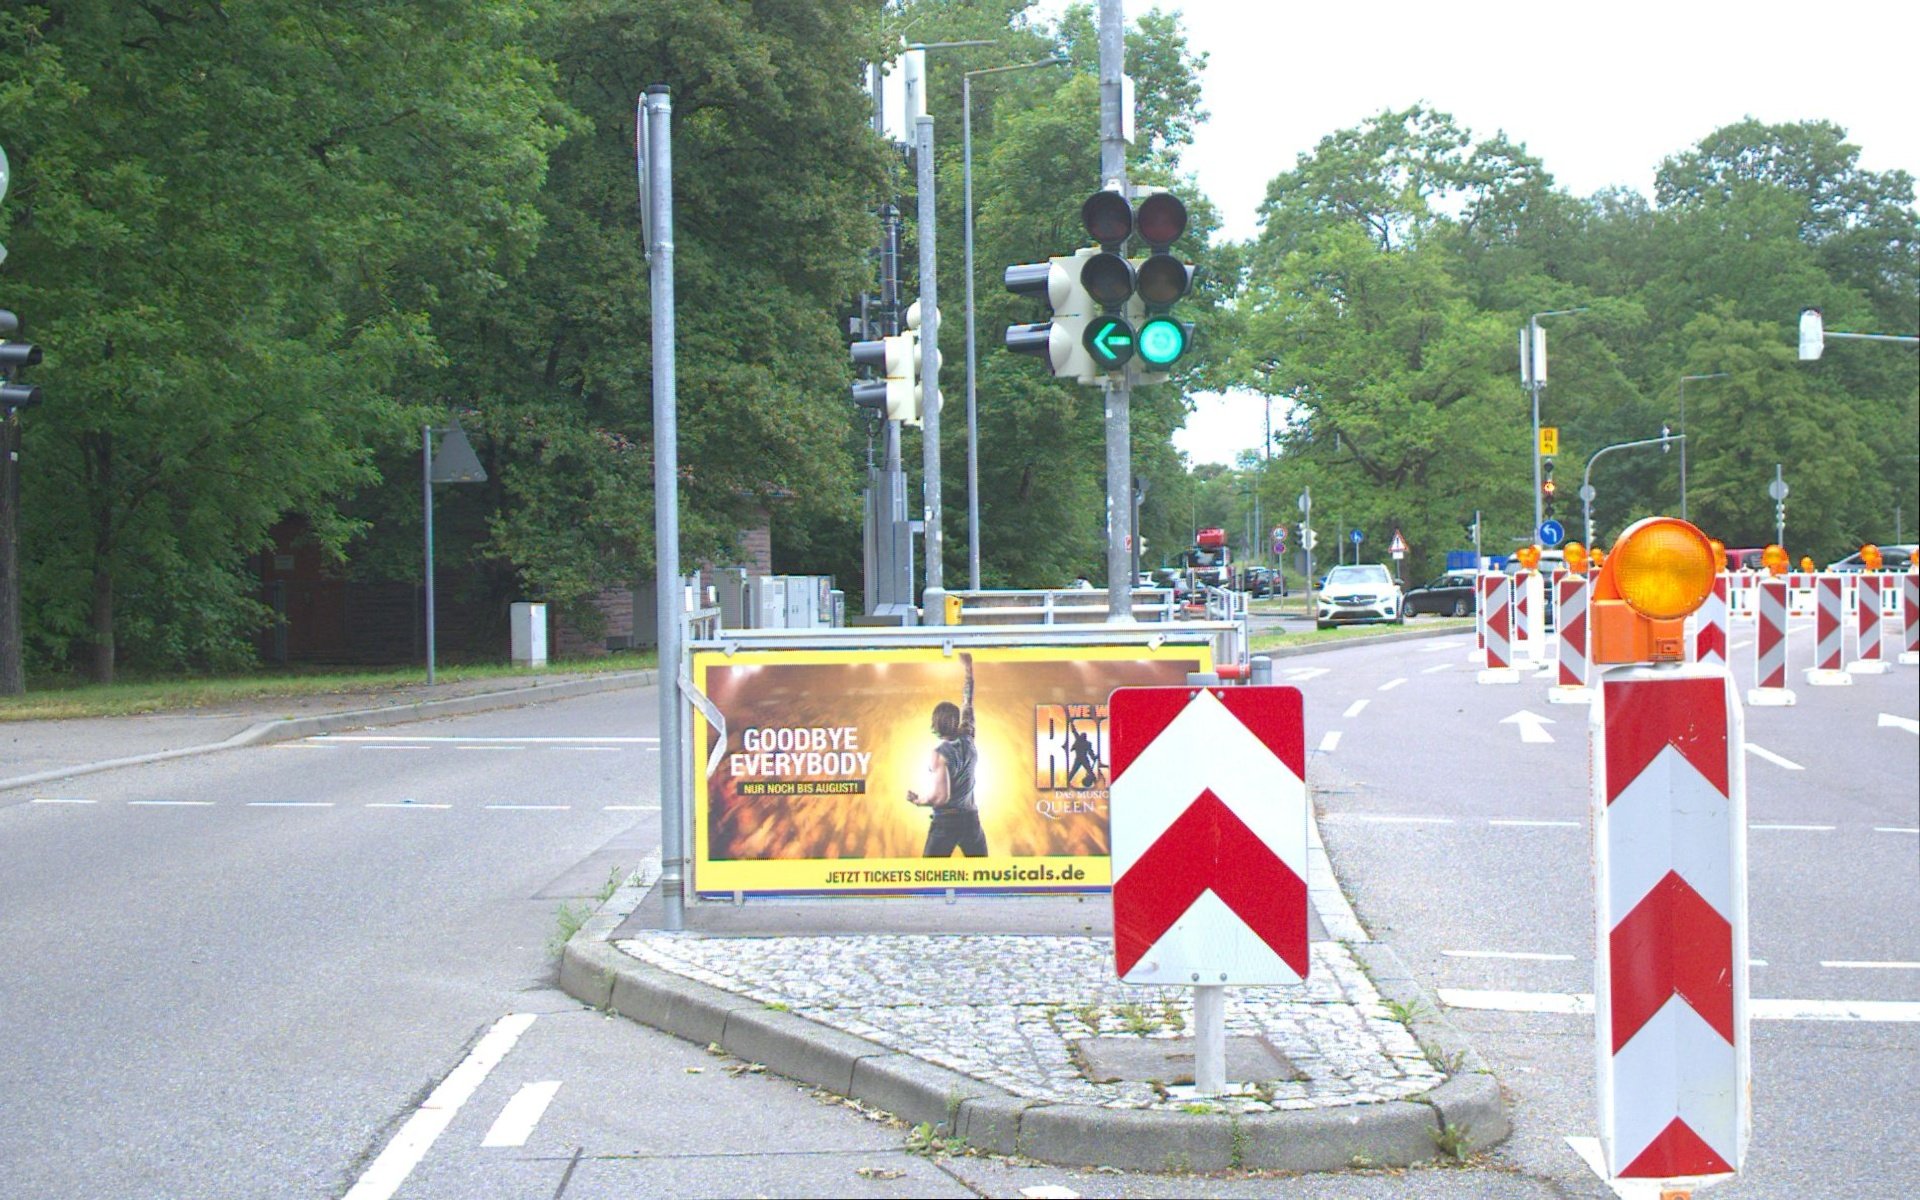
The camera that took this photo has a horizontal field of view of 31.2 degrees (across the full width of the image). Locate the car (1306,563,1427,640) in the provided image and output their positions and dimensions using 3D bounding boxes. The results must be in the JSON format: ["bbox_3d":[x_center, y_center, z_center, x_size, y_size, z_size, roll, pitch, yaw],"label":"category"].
[{"bbox_3d":[9.644,0.042,81.280,1.995,1.744,4.575,1,0,18],"label":"car"}]

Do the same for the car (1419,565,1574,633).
[{"bbox_3d":[15.306,-0.044,98.224,1.994,1.875,3.998,1,0,-43],"label":"car"}]

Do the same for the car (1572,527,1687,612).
[{"bbox_3d":[14.289,-0.634,73.254,1.798,1.732,3.699,1,0,21],"label":"car"}]
